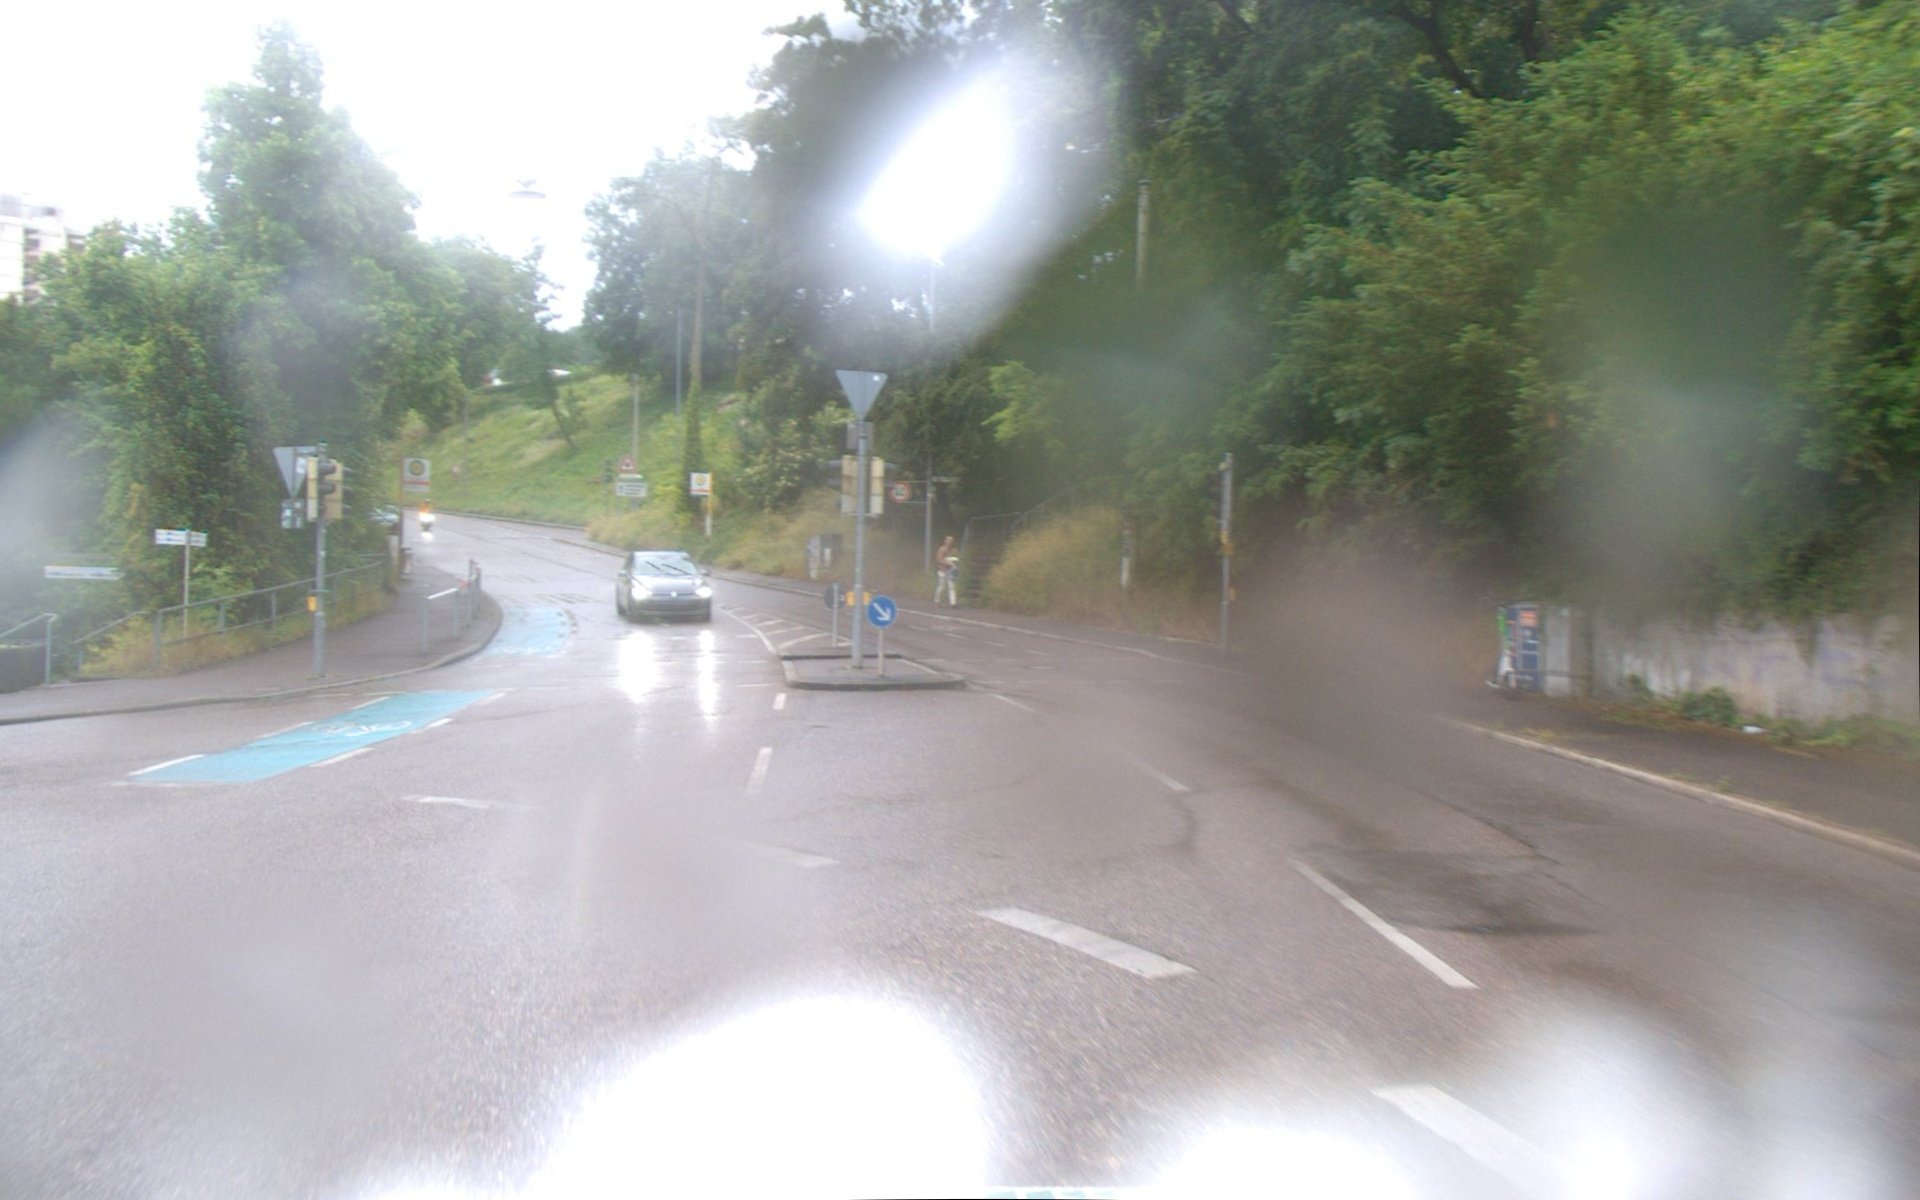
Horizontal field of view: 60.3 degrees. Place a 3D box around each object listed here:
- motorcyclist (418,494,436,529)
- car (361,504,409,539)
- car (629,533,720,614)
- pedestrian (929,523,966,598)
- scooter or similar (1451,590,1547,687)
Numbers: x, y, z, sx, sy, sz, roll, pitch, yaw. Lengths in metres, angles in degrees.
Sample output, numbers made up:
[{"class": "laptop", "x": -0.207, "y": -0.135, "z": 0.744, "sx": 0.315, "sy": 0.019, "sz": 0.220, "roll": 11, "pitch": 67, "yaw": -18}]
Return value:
[{"class": "motorcyclist", "x": -29.737, "y": -4.927, "z": 92.294, "sx": 0.871, "sy": 1.905, "sz": 1.247, "roll": 0, "pitch": 3, "yaw": -20}, {"class": "car", "x": -29.879, "y": -4.080, "z": 85.856, "sx": 1.815, "sy": 1.720, "sz": 3.966, "roll": -1, "pitch": 4, "yaw": -27}, {"class": "car", "x": -6.372, "y": -0.650, "z": 36.769, "sx": 1.849, "sy": 1.547, "sz": 4.682, "roll": -1, "pitch": 4, "yaw": -10}, {"class": "pedestrian", "x": -0.307, "y": -0.970, "z": 40.493, "sx": 0.637, "sy": 1.783, "sz": 0.795, "roll": 1, "pitch": 2, "yaw": -20}, {"class": "scooter or similar", "x": 6.506, "y": 0.437, "z": 20.041, "sx": 0.589, "sy": 1.094, "sz": 1.769, "roll": 1, "pitch": 1, "yaw": 1}]
